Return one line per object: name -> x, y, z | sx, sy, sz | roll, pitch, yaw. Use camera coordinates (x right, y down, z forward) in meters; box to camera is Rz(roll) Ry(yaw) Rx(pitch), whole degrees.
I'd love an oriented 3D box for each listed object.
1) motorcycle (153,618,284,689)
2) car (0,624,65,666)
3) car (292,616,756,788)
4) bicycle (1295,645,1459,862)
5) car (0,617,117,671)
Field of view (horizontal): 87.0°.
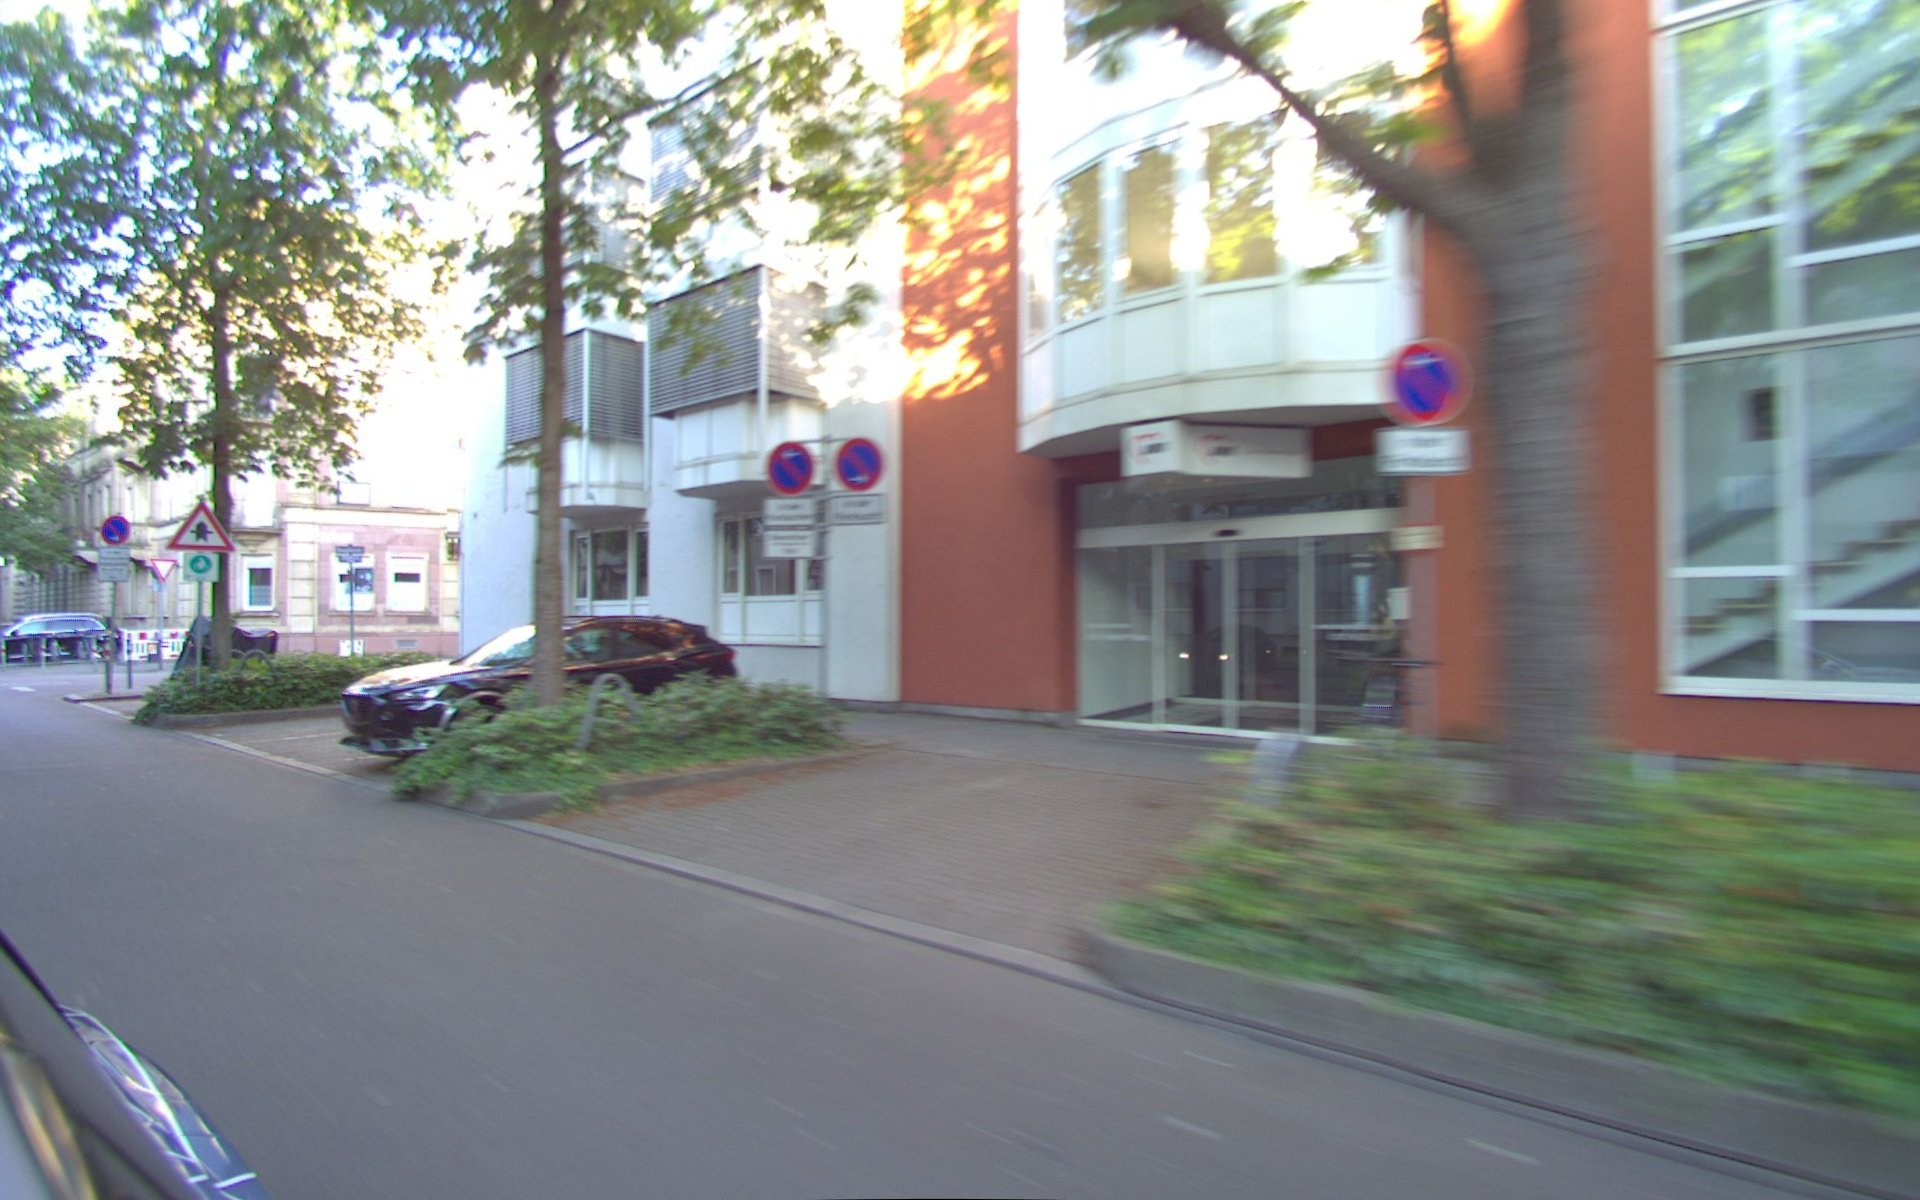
motorcycle -> -16.170, 1.139, 22.157 | 0.894, 1.481, 2.219 | -1, -2, 17
car -> -37.181, 1.716, 39.006 | 3.937, 1.597, 2.003 | 1, -2, -40
car -> -4.649, 0.958, 11.404 | 1.870, 1.537, 4.464 | -1, -2, 39
bicycle -> 2.813, 0.907, 6.706 | 0.654, 1.185, 1.942 | -1, -2, 33
car -> -31.365, 1.461, 33.969 | 2.142, 1.748, 4.539 | -1, -2, 44
